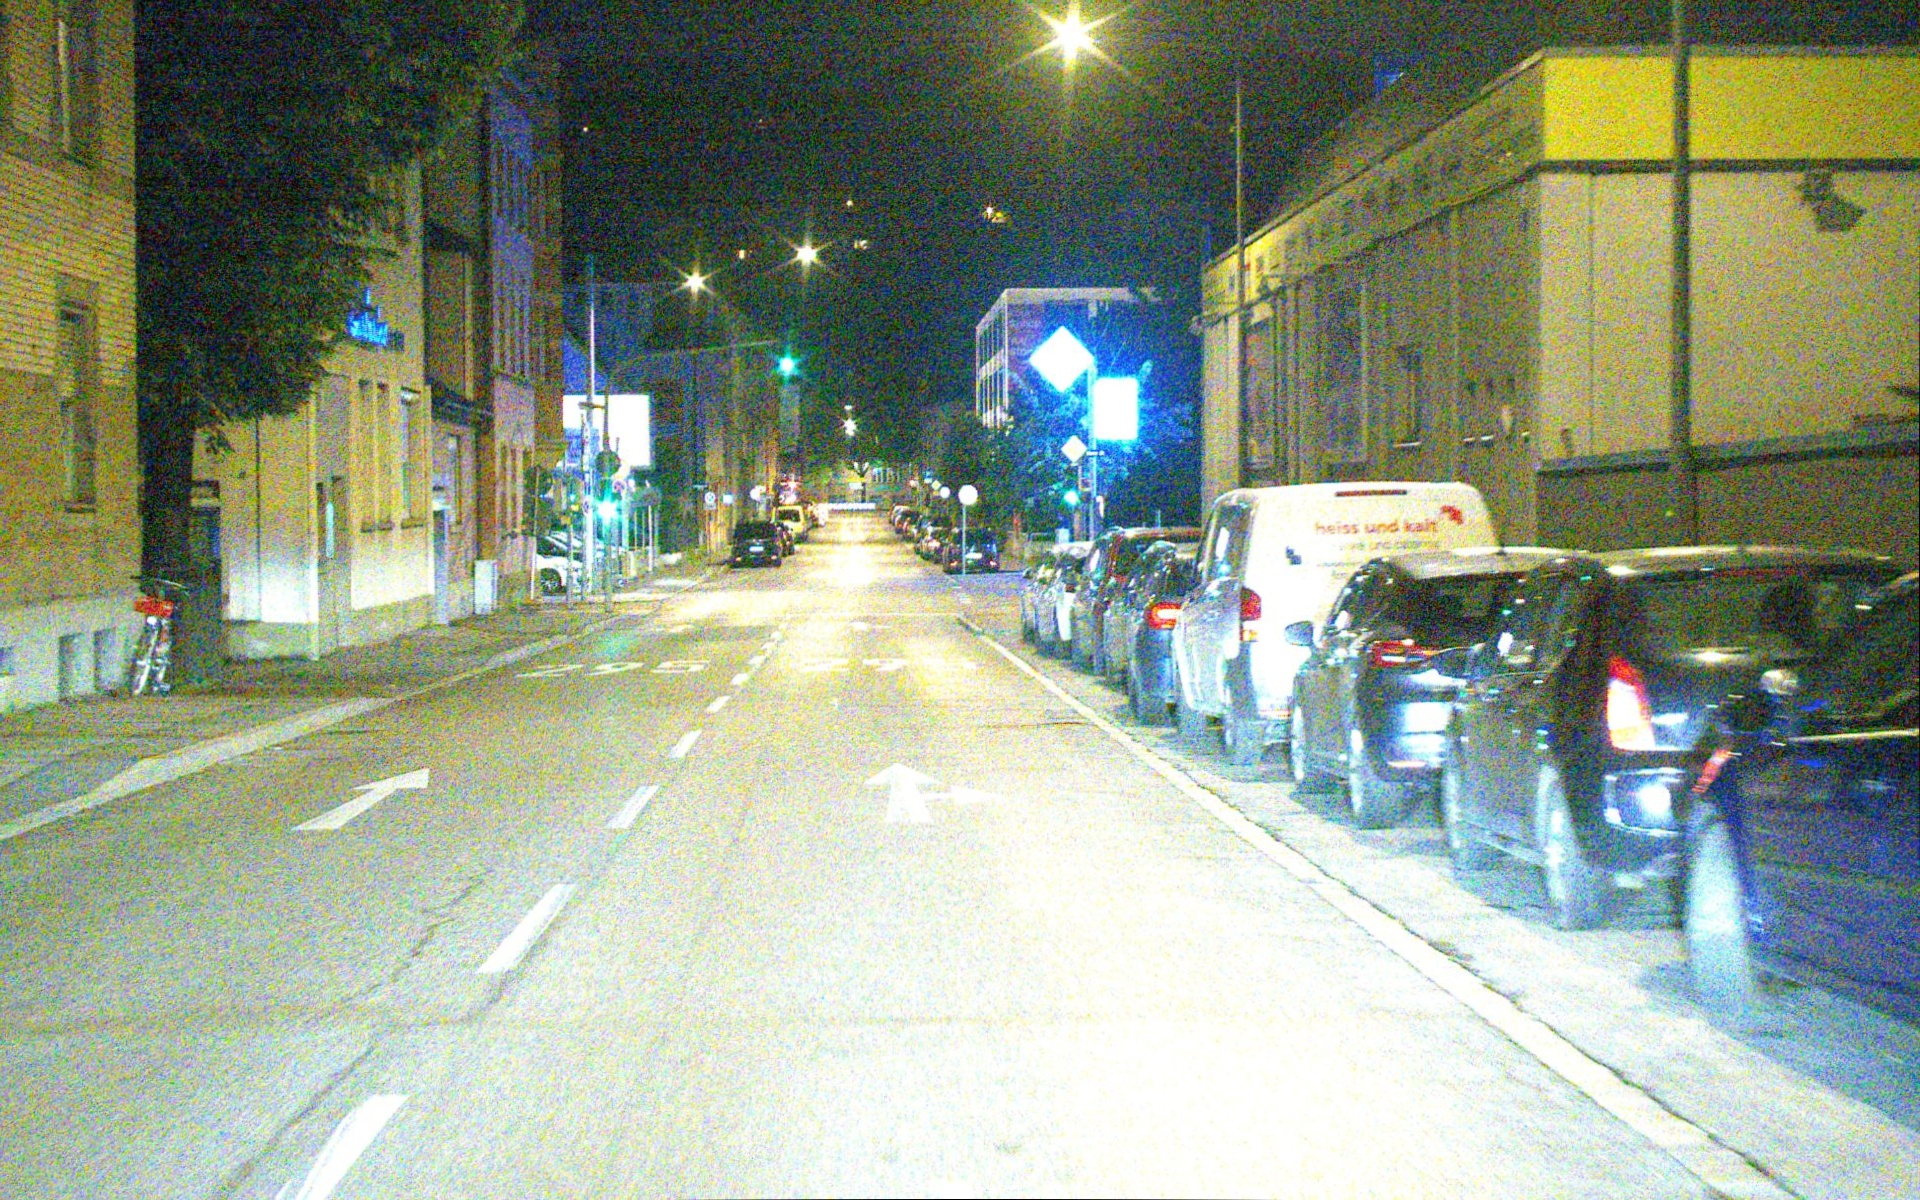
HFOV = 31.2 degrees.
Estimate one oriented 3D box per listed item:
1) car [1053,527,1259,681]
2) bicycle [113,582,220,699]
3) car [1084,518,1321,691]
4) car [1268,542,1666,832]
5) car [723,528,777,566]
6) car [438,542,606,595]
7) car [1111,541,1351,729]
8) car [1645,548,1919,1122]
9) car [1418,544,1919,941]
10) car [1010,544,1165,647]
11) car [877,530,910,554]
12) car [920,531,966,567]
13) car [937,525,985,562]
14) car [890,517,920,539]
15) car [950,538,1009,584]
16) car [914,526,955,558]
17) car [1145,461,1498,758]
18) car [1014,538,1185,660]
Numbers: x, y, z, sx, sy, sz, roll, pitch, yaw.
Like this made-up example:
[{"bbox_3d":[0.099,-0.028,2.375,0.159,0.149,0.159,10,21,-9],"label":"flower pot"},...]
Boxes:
[{"bbox_3d":[2.204,-0.003,39.796,1.823,1.617,4.458,-1,1,-4],"label":"car"},{"bbox_3d":[-7.401,0.362,32.122,0.619,1.048,1.722,0,1,-1],"label":"bicycle"},{"bbox_3d":[2.376,-0.013,34.813,1.823,1.583,4.629,-1,1,-3],"label":"car"},{"bbox_3d":[2.736,0.417,19.311,1.595,1.462,3.892,0,1,-1],"label":"car"},{"bbox_3d":[-8.396,-2.129,137.690,1.993,1.497,4.000,0,1,-1],"label":"car"},{"bbox_3d":[-12.121,-0.879,95.345,4.438,1.444,2.000,0,1,-2],"label":"car"},{"bbox_3d":[2.272,0.247,29.713,1.816,1.422,4.189,-2,1,2],"label":"car"},{"bbox_3d":[3.232,0.571,9.472,1.778,1.422,3.892,0,1,-2],"label":"car"},{"bbox_3d":[3.011,0.504,14.534,1.595,1.462,3.719,0,1,-1],"label":"car"},{"bbox_3d":[1.877,-0.096,51.815,1.859,1.484,4.547,0,1,-4],"label":"car"},{"bbox_3d":[-4.174,-3.638,215.694,1.993,1.515,4.000,0,1,0],"label":"car"},{"bbox_3d":[-0.729,-2.214,149.745,1.993,1.515,4.000,0,1,0],"label":"car"},{"bbox_3d":[0.050,-2.353,143.443,1.993,1.515,4.000,0,1,0],"label":"car"},{"bbox_3d":[-3.824,-5.005,238.676,1.993,1.515,4.000,0,1,0],"label":"car"},{"bbox_3d":[0.660,-1.365,119.524,1.993,1.511,4.000,1,1,0],"label":"car"},{"bbox_3d":[-1.221,-2.822,168.339,1.993,1.515,4.000,0,1,0],"label":"car"},{"bbox_3d":[2.490,0.005,24.820,1.800,1.868,4.774,-2,1,-2],"label":"car"},{"bbox_3d":[1.792,-0.039,45.577,1.774,1.539,4.547,0,1,-4],"label":"car"}]
